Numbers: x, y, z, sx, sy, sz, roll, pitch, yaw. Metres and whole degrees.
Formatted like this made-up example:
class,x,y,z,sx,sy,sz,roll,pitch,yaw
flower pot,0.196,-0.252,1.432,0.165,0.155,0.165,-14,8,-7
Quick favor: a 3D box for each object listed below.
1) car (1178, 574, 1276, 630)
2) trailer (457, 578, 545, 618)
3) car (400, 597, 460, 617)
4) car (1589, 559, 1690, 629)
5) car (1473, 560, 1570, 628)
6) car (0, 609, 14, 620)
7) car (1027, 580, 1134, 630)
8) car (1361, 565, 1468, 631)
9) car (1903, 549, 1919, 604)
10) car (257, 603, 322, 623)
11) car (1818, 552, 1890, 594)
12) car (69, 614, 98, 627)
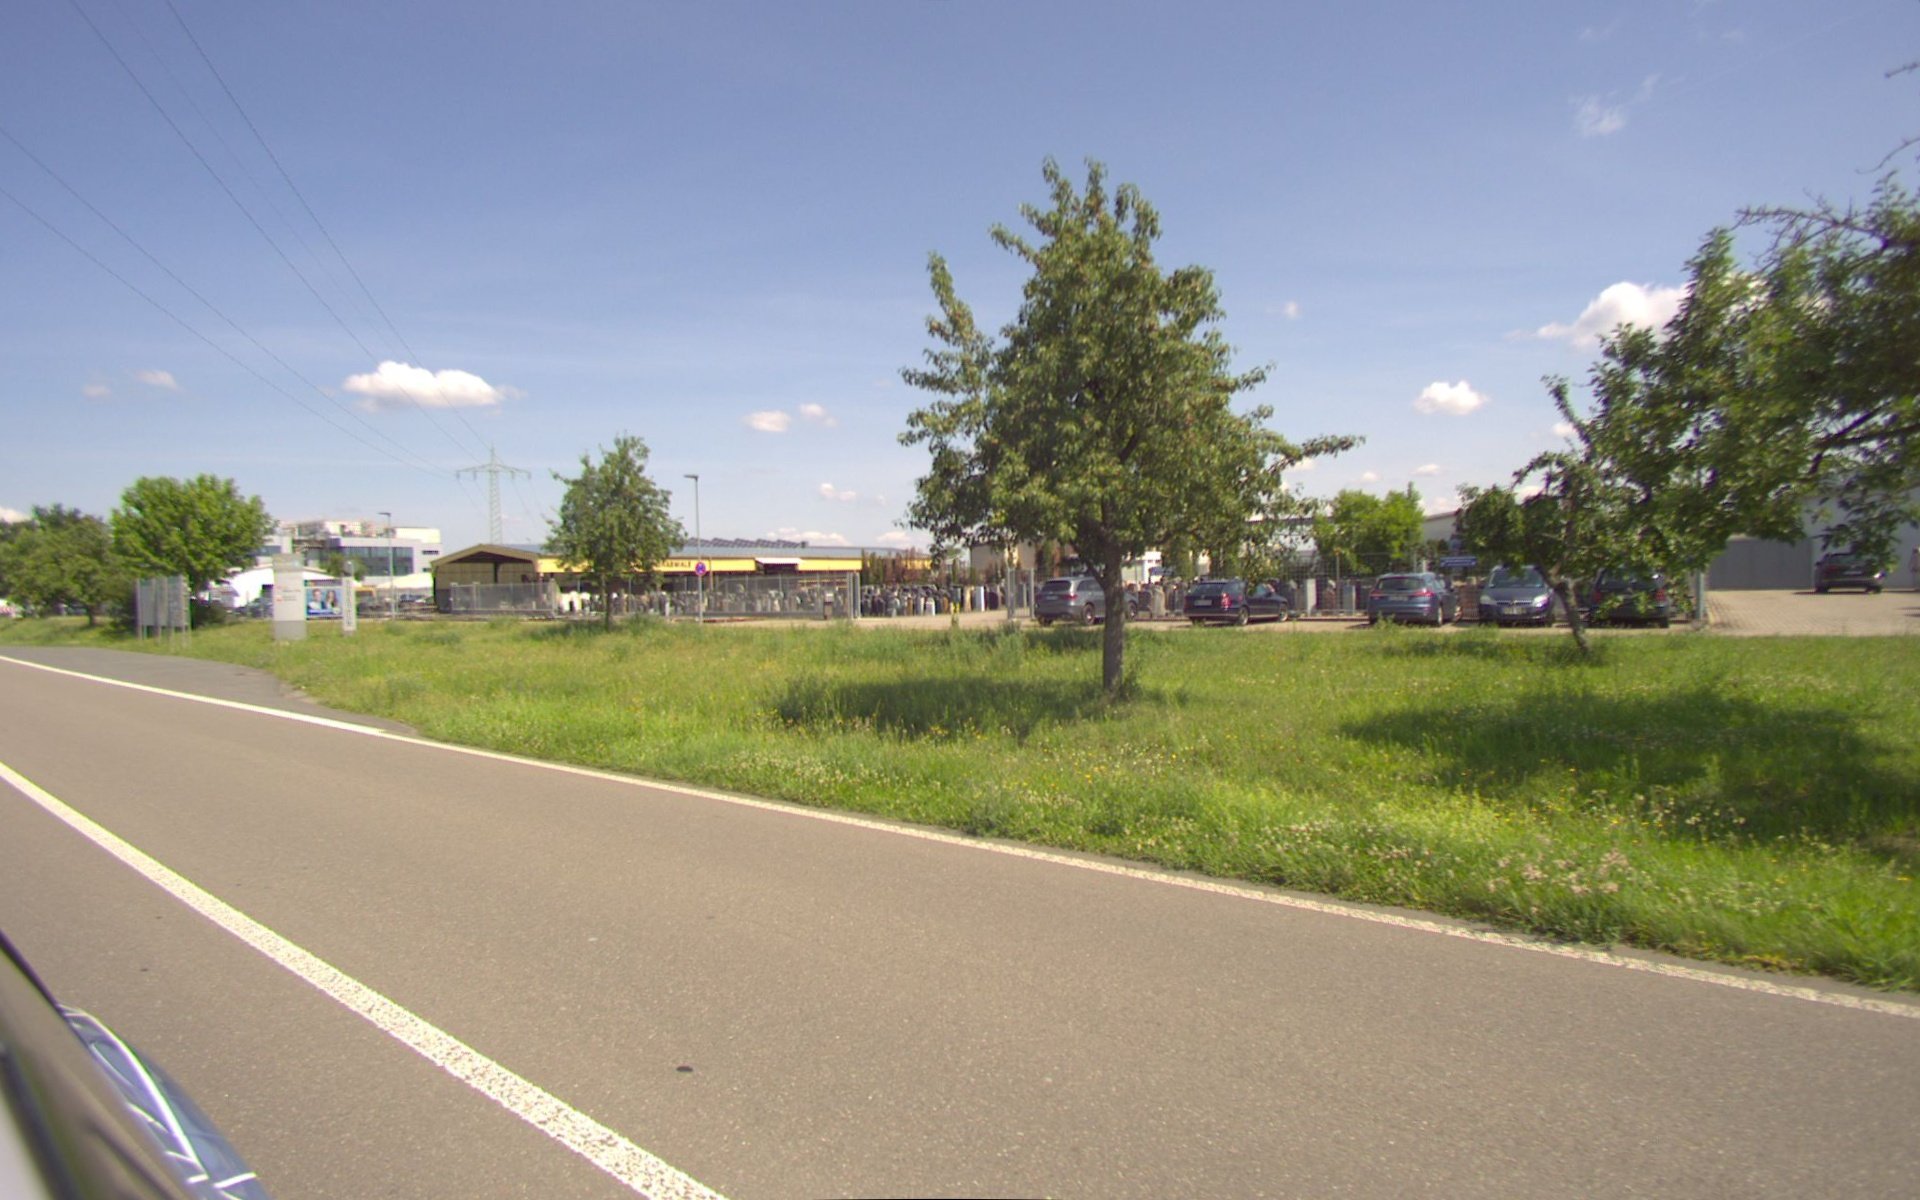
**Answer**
class,x,y,z,sx,sy,sz,roll,pitch,yaw
car,8.394,0.030,31.631,1.662,1.566,3.953,-1,1,35
trailer,-35.326,-0.187,77.984,2.734,2.846,5.517,-1,1,34
car,-44.837,0.614,85.643,4.201,1.497,1.994,-2,1,10
car,17.491,-0.195,26.023,1.996,1.652,3.953,-1,1,35
car,15.174,-0.186,27.238,1.854,1.652,3.953,-1,1,35
car,-133.288,2.032,139.626,2.000,1.530,3.943,0,1,43
car,4.187,0.136,34.736,1.996,1.539,3.953,-1,1,35
car,12.762,-0.096,28.280,1.996,1.652,3.953,-1,2,35
car,28.971,-0.726,27.771,4.119,1.540,1.997,-2,1,6
car,-50.229,0.935,75.880,1.920,1.320,3.990,-2,1,8
car,34.819,-1.063,39.378,2.000,1.495,4.111,-1,2,43
car,-107.504,2.506,124.144,4.513,1.418,1.974,-1,2,40
